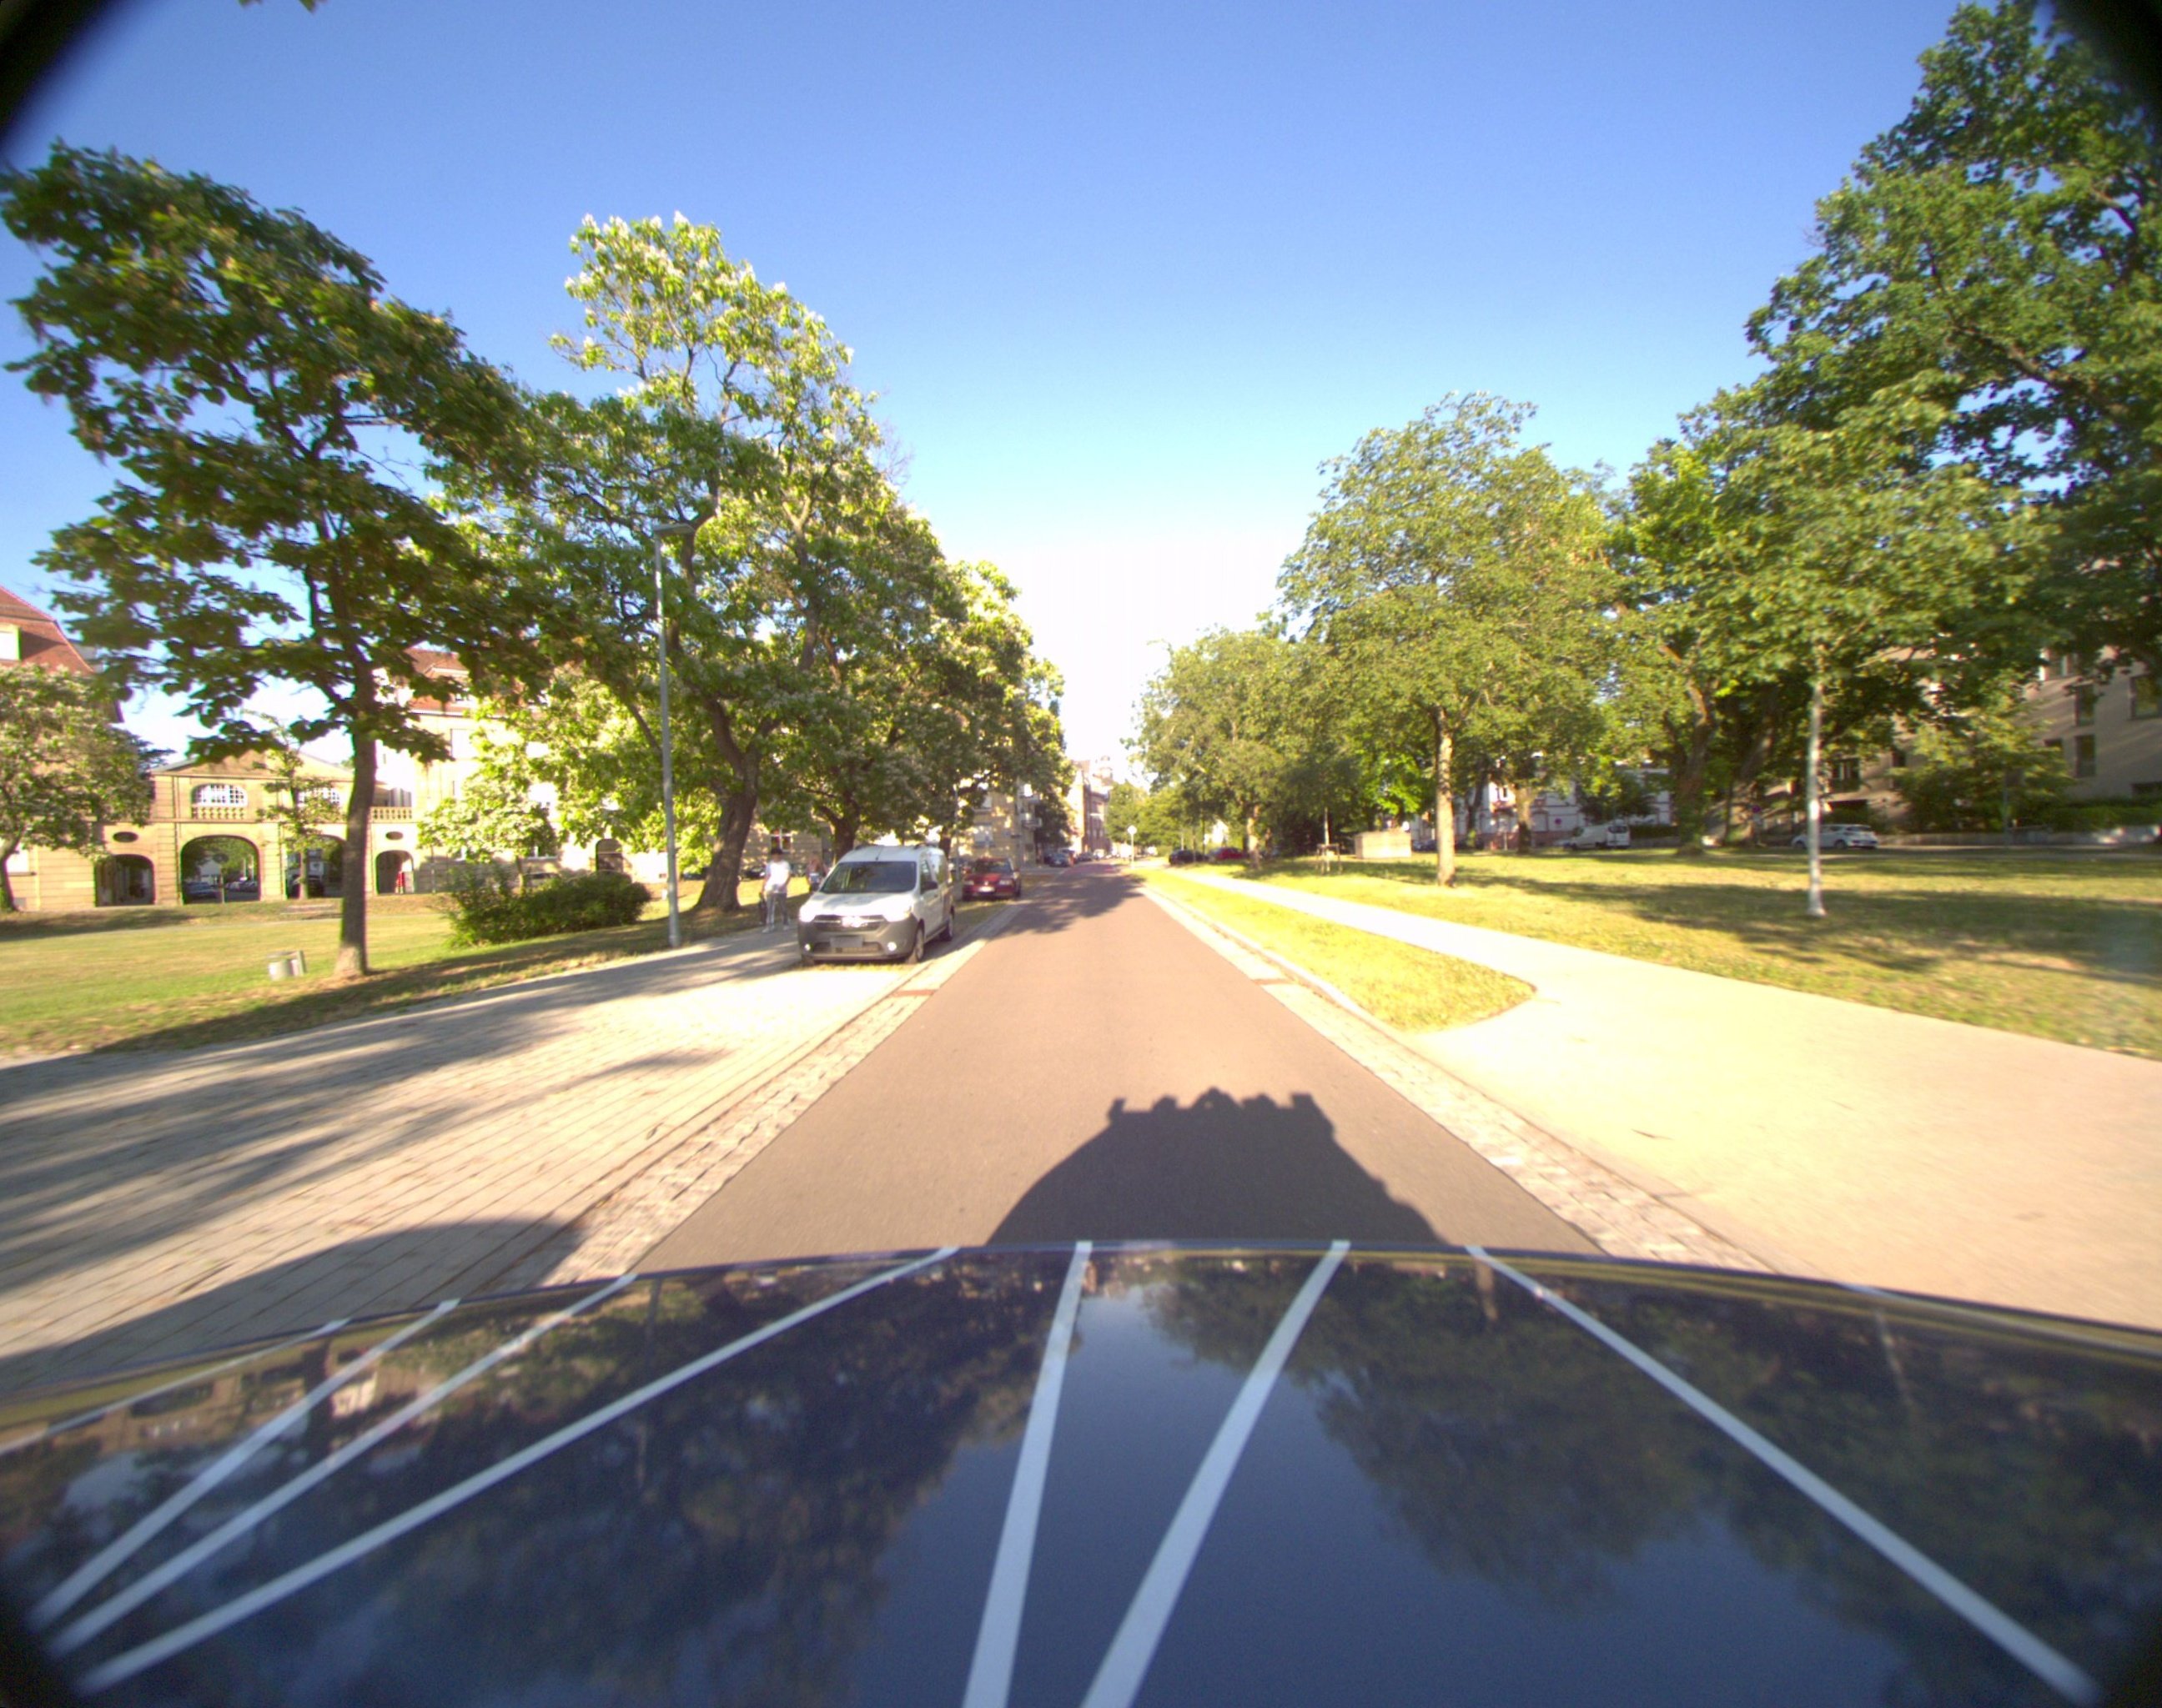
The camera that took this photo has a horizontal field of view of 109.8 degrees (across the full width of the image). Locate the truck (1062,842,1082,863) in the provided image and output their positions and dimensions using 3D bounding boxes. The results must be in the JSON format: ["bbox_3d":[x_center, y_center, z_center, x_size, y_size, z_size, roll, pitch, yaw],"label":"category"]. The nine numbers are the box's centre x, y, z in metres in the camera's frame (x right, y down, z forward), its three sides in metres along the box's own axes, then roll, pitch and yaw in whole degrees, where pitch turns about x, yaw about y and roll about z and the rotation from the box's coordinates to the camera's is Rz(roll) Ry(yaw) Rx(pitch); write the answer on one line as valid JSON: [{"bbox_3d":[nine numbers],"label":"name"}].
[{"bbox_3d":[-1.180,-0.250,101.907,2.133,2.549,6.877,-2,1,3],"label":"truck"}]

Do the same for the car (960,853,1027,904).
[{"bbox_3d":[-2.948,0.786,26.491,1.682,1.477,4.808,-2,1,0],"label":"car"}]

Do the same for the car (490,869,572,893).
[{"bbox_3d":[-38.346,1.867,53.107,4.377,1.409,1.815,-2,1,-29],"label":"car"}]

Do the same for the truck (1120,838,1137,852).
[{"bbox_3d":[11.906,-2.286,189.734,3.018,3.423,7.629,-1,1,12],"label":"truck"}]

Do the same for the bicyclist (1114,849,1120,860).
[{"bbox_3d":[5.990,0.050,126.524,0.939,1.693,0.906,-2,1,7],"label":"bicyclist"}]

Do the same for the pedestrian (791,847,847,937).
[{"bbox_3d":[-5.222,0.737,15.179,0.755,1.726,0.731,-3,1,1],"label":"pedestrian"}]

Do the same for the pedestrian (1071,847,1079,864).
[{"bbox_3d":[-0.642,0.121,81.545,0.778,1.759,0.955,-3,1,2],"label":"pedestrian"}]

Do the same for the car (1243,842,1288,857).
[{"bbox_3d":[19.289,-0.505,79.488,4.280,1.392,1.836,-2,1,-21],"label":"car"}]

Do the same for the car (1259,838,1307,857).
[{"bbox_3d":[19.447,-0.637,73.160,4.003,1.565,1.887,-3,3,-20],"label":"car"}]

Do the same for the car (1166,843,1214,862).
[{"bbox_3d":[9.991,-0.156,69.688,4.004,1.565,1.887,-3,3,-24],"label":"car"}]

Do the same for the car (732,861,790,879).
[{"bbox_3d":[-27.282,1.339,64.857,4.458,1.317,1.502,-2,1,-21],"label":"car"}]

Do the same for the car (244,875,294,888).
[{"bbox_3d":[-106.288,3.620,99.495,1.814,1.409,4.380,-1,1,41],"label":"car"}]

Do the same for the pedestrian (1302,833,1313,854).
[{"bbox_3d":[18.339,-0.852,61.521,0.663,1.686,0.672,-3,1,2],"label":"pedestrian"}]

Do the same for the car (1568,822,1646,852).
[{"bbox_3d":[40.178,-1.264,58.195,2.675,2.101,4.970,-3,1,4],"label":"car"}]

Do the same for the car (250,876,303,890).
[{"bbox_3d":[-98.157,3.491,92.739,1.814,1.409,4.380,-1,1,41],"label":"car"}]

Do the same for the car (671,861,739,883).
[{"bbox_3d":[-28.599,1.363,57.919,4.443,1.409,1.563,-2,1,-23],"label":"car"}]

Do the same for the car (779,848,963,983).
[{"bbox_3d":[-3.181,0.819,12.502,1.682,1.730,4.513,-2,1,0],"label":"car"}]

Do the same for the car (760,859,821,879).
[{"bbox_3d":[-22.926,1.157,60.072,4.370,1.409,1.842,-2,1,-19],"label":"car"}]

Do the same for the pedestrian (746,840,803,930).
[{"bbox_3d":[-6.099,0.601,15.154,0.727,1.726,0.731,-3,1,1],"label":"pedestrian"}]

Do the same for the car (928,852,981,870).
[{"bbox_3d":[-11.317,0.650,68.061,4.452,1.411,1.934,-2,1,-4],"label":"car"}]

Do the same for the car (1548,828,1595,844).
[{"bbox_3d":[53.809,-1.962,83.391,3.997,1.565,1.890,-2,3,1],"label":"car"}]

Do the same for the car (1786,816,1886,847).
[{"bbox_3d":[42.773,-1.256,43.161,1.998,1.608,3.738,-3,1,1],"label":"car"}]

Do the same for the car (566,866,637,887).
[{"bbox_3d":[-37.956,1.734,60.245,4.657,1.409,1.815,-2,1,-31],"label":"car"}]

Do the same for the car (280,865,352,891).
[{"bbox_3d":[-69.800,2.193,69.395,1.814,2.096,4.380,-1,1,38],"label":"car"}]

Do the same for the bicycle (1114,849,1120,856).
[{"bbox_3d":[5.987,-0.238,126.572,0.739,1.129,2.105,-2,1,7],"label":"bicycle"}]

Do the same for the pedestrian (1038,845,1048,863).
[{"bbox_3d":[-4.050,-0.014,80.649,0.733,1.820,0.555,-3,1,-35],"label":"pedestrian"}]

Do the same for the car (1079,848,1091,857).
[{"bbox_3d":[0.645,-0.220,125.306,1.610,1.349,3.549,-2,1,7],"label":"car"}]

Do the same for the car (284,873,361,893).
[{"bbox_3d":[-65.076,2.464,65.272,1.814,1.409,4.379,-1,1,36],"label":"car"}]

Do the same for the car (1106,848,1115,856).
[{"bbox_3d":[6.375,-0.463,162.526,1.582,1.499,3.848,-2,1,7],"label":"car"}]

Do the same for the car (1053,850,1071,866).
[{"bbox_3d":[-1.992,0.385,80.009,1.707,1.616,4.349,0,0,1],"label":"car"}]

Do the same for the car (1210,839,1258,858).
[{"bbox_3d":[14.364,-0.564,71.255,4.004,1.565,1.887,-3,3,-24],"label":"car"}]

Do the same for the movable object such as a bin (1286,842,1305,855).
[{"bbox_3d":[17.373,-0.448,61.532,1.332,0.984,0.950,-2,1,3],"label":"movable object such as a bin"}]

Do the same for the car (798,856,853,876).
[{"bbox_3d":[-22.247,1.043,66.372,4.456,1.591,1.800,-2,1,-17],"label":"car"}]
